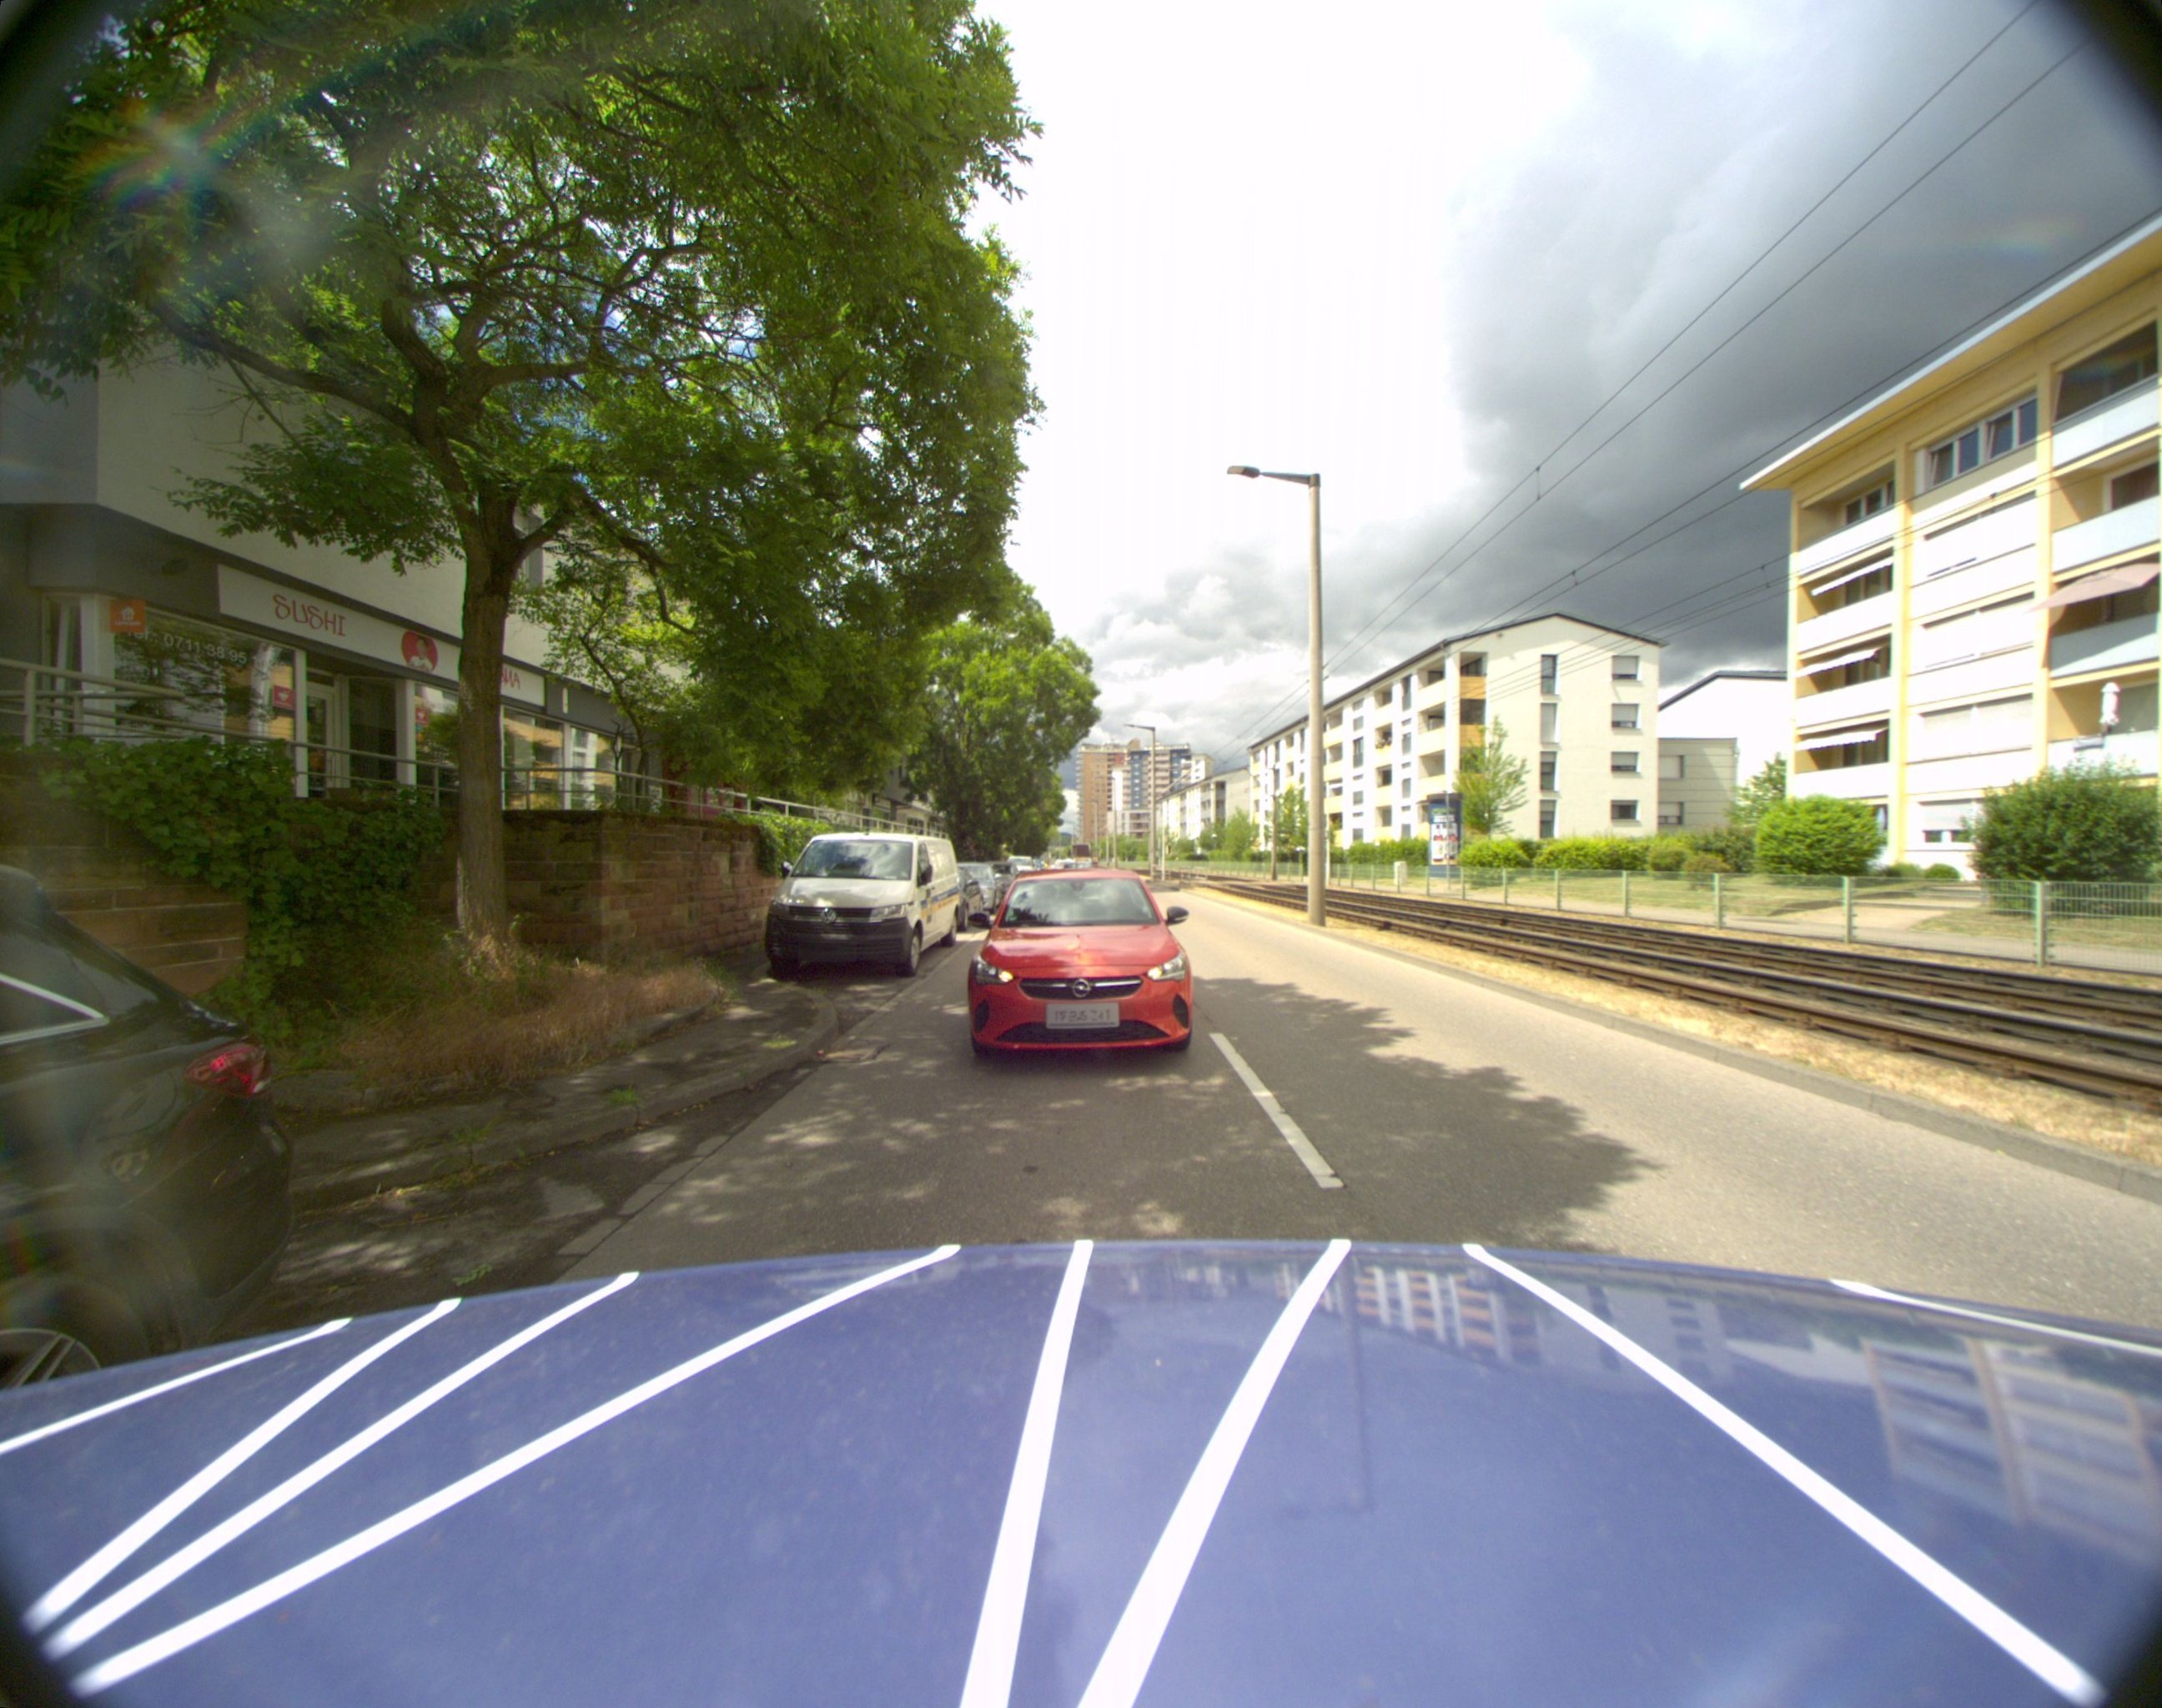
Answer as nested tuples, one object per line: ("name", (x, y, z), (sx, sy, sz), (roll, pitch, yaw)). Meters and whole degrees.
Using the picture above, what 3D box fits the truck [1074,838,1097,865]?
("truck", (0.593, -0.316, 104.308), (2.852, 3.428, 4.414), (-2, 0, -2))

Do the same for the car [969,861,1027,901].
("car", (-3.159, 1.001, 29.607), (1.784, 1.420, 4.147), (0, 0, 0))

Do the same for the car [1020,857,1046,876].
("car", (-3.905, 1.002, 61.951), (1.784, 1.420, 4.147), (-1, 0, 0))

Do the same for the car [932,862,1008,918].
("car", (-3.210, 1.009, 22.723), (1.785, 1.420, 4.144), (2, 0, -2))

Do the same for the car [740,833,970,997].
("car", (-3.091, 0.732, 11.671), (1.978, 1.958, 5.013), (-1, 0, 0))

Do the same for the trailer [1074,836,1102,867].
("trailer", (0.791, -0.303, 95.904), (2.875, 3.428, 14.613), (-2, 0, -1))

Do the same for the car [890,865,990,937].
("car", (-3.161, 0.998, 17.642), (1.578, 1.420, 3.734), (-1, 0, 0))

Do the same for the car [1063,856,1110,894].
("car", (0.188, 0.888, 34.136), (1.927, 1.543, 3.999), (-2, 0, -1))

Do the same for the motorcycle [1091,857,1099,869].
("motorcycle", (1.438, 0.907, 79.875), (0.783, 1.181, 1.869), (-1, 0, -1))

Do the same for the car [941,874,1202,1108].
("car", (-0.024, 0.978, 7.113), (1.723, 1.434, 4.000), (-1, 0, 1))

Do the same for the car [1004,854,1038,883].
("car", (-3.524, 0.816, 45.031), (1.819, 1.643, 4.146), (0, 0, -2))

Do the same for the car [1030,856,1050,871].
("car", (-4.225, 0.966, 78.907), (1.784, 1.420, 4.147), (-1, 0, 0))

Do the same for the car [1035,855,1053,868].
("car", (-4.123, 0.859, 86.093), (1.784, 1.420, 4.147), (0, 0, 0))

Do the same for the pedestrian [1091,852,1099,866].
("pedestrian", (1.420, 0.560, 79.825), (0.737, 1.408, 0.927), (-2, 1, -1))
